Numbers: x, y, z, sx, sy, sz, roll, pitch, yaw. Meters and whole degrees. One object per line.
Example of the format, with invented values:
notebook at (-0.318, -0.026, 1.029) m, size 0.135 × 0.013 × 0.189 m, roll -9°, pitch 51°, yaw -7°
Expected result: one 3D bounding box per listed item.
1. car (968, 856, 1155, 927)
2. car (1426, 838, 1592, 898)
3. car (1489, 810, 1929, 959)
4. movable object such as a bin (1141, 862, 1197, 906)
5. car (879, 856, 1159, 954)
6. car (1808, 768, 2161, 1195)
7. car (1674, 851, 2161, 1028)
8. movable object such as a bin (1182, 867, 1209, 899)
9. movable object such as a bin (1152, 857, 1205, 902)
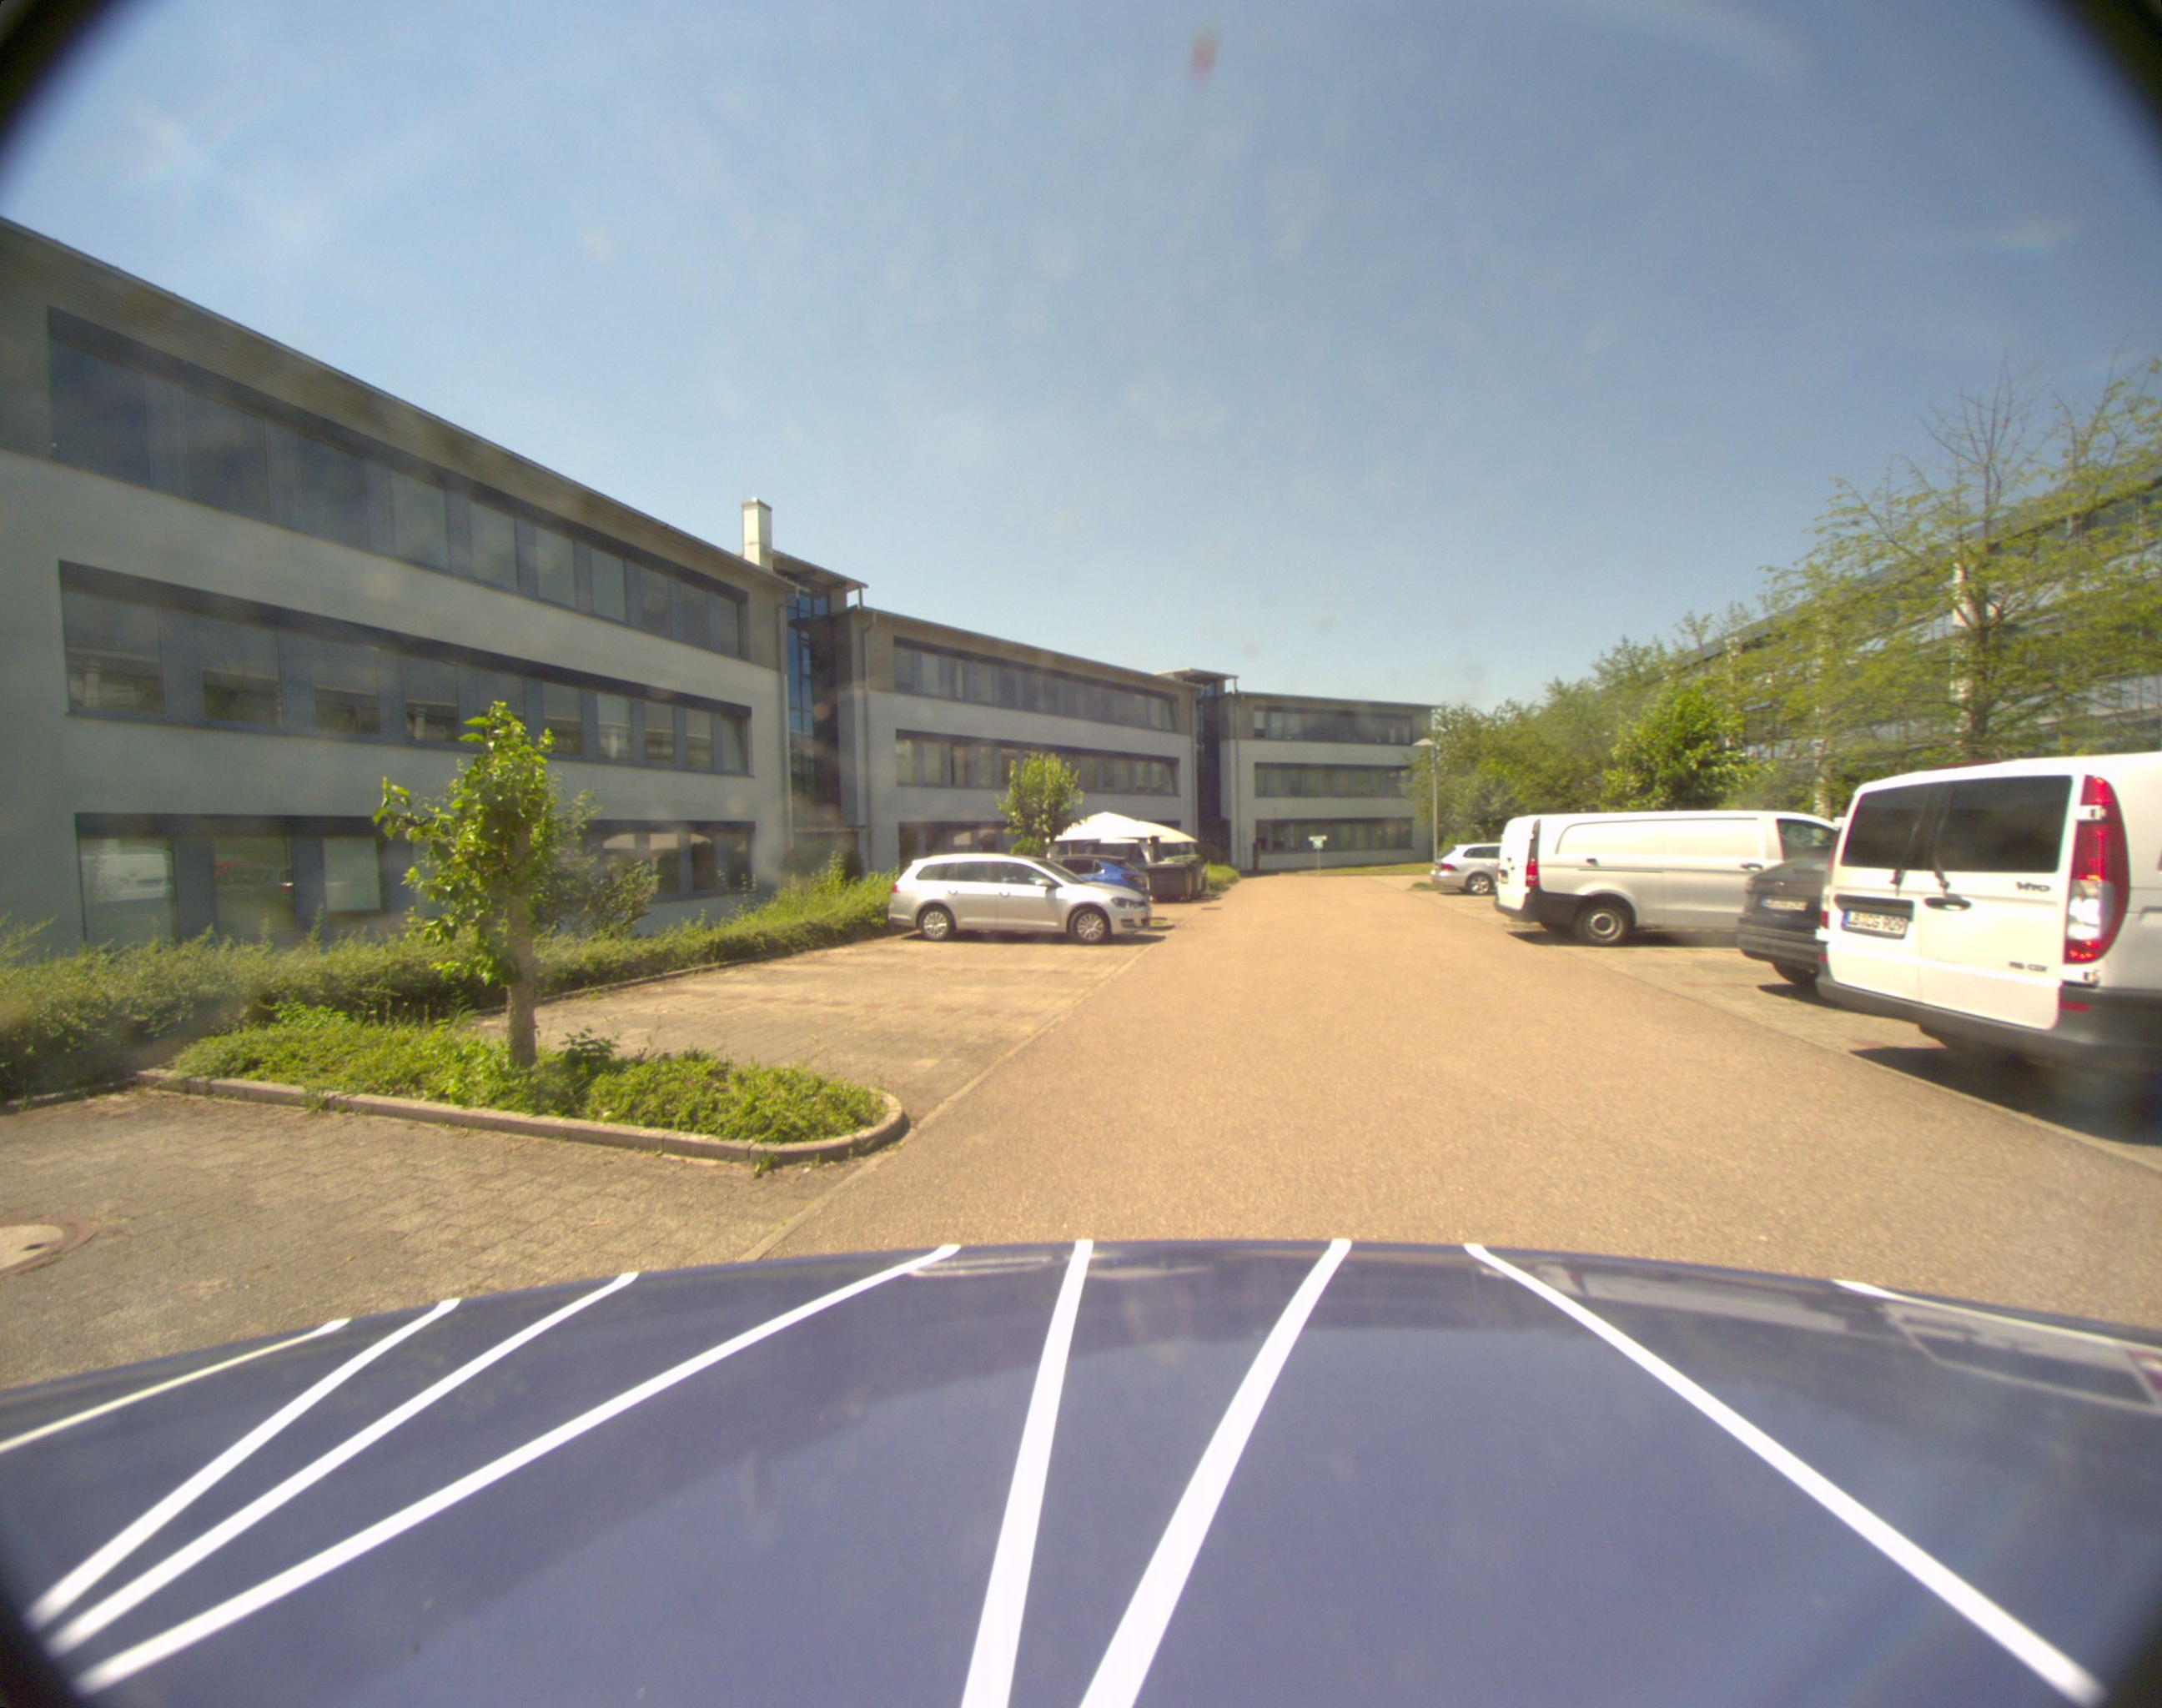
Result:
car at (-0.375, 0.769, 16.753) m, size 3.820 × 1.384 × 1.653 m, roll 0°, pitch 1°, yaw 13°
car at (11.952, 0.381, 21.436) m, size 3.759 × 1.549 × 1.662 m, roll -1°, pitch 1°, yaw 13°
car at (8.598, 0.411, 10.887) m, size 4.512 × 1.871 × 1.831 m, roll -1°, pitch 1°, yaw 13°
movable object such as a bin at (2.518, 0.830, 21.618) m, size 1.361 × 1.183 × 0.998 m, roll -1°, pitch 1°, yaw 19°
car at (-1.004, 0.803, 13.268) m, size 4.512 × 1.489 × 1.831 m, roll 0°, pitch 1°, yaw 13°
car at (7.053, 0.510, 3.762) m, size 4.727 × 1.895 × 1.831 m, roll -1°, pitch 1°, yaw 13°
car at (8.154, 0.718, 7.072) m, size 3.845 × 1.385 × 1.578 m, roll -1°, pitch 1°, yaw 13°
movable object such as a bin at (3.524, 0.897, 23.382) m, size 0.689 × 0.944 × 0.723 m, roll -1°, pitch 1°, yaw 19°
movable object such as a bin at (2.913, 0.750, 22.618) m, size 1.361 × 1.288 × 1.044 m, roll -1°, pitch 1°, yaw 19°
